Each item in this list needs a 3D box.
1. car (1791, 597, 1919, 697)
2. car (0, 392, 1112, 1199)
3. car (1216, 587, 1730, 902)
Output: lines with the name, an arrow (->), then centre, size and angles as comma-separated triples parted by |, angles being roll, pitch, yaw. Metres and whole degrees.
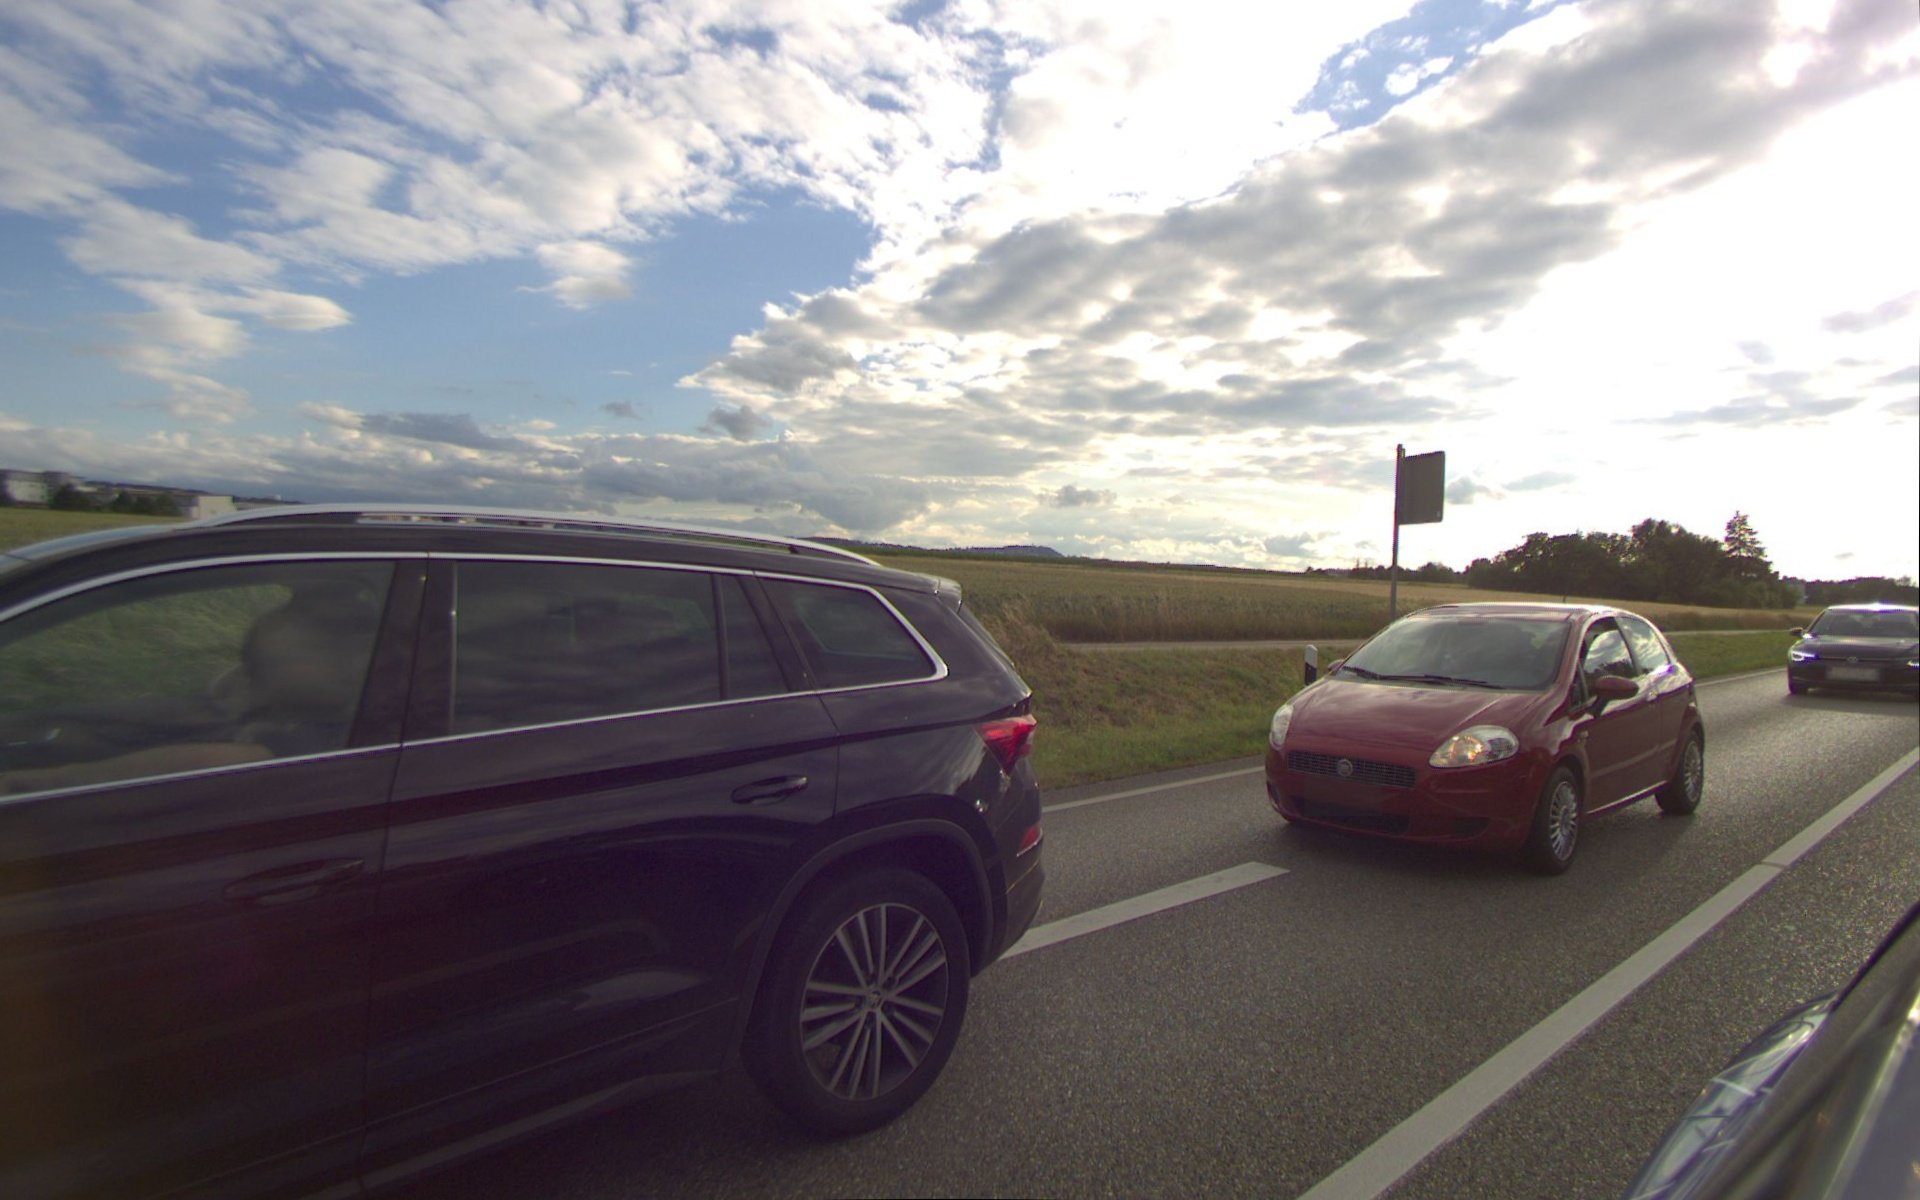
car -> 15.314, 0.690, 16.732 | 3.962, 1.475, 1.797 | 0, 0, -41
car -> -1.790, 0.533, 2.556 | 4.477, 1.730, 1.839 | -1, 0, -41
car -> 3.552, 0.668, 6.704 | 3.840, 1.475, 1.710 | -1, 0, -41
